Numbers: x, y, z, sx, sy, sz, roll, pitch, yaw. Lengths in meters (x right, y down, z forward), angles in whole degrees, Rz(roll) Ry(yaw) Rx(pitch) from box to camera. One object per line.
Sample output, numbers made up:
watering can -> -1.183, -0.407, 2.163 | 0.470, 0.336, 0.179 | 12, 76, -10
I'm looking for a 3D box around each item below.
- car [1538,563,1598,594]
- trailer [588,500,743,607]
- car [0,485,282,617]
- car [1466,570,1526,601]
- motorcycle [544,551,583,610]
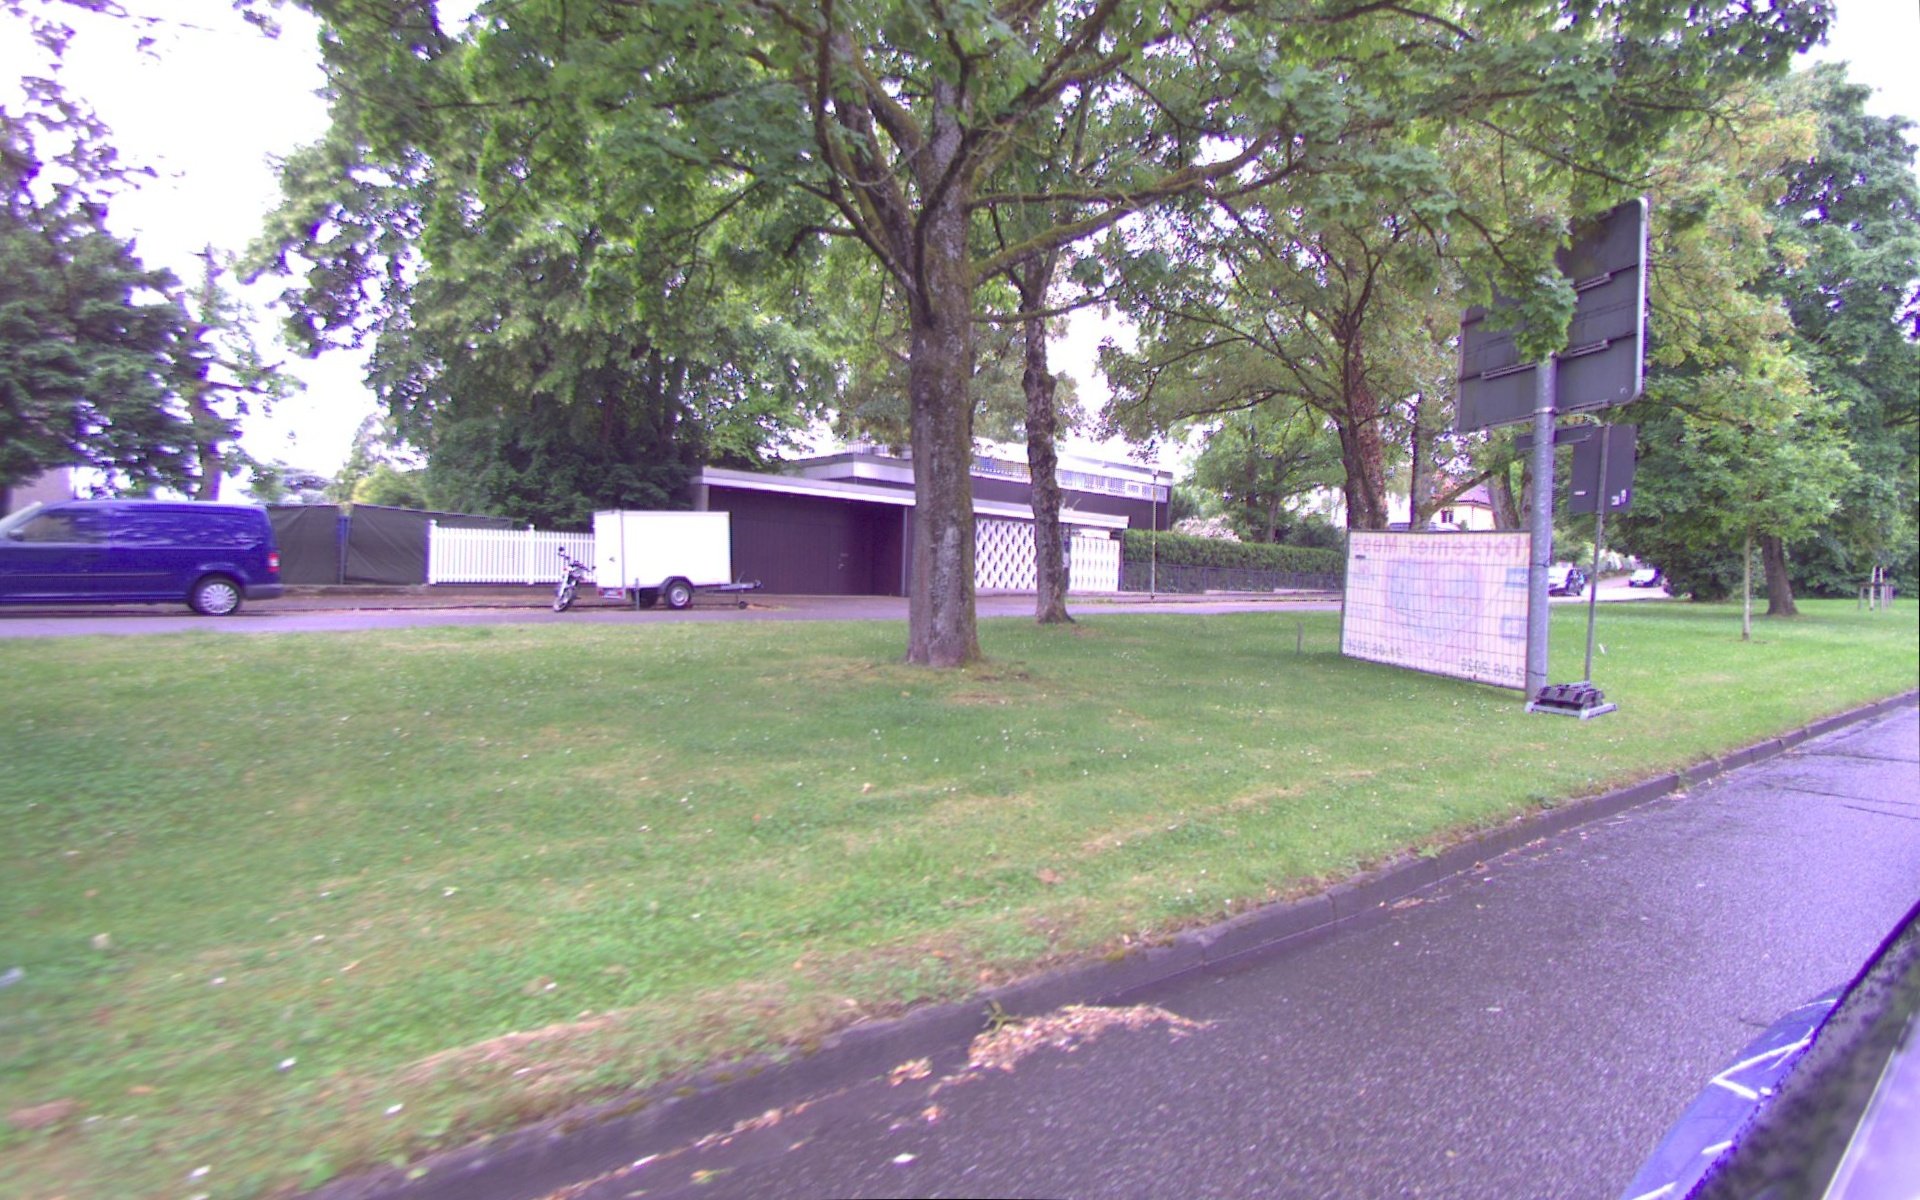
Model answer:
car -> 40.461, -1.486, 67.309 | 4.986, 1.901, 2.162 | -3, 4, -43
trailer -> -6.375, -0.994, 22.029 | 1.437, 2.180, 2.903 | 3, 3, 45
car -> -13.320, -0.731, 15.535 | 4.570, 1.831, 1.944 | 1, 3, -43
car -> 31.289, -0.881, 59.038 | 3.968, 1.644, 1.904 | -3, 4, -43
motorcycle -> -7.971, -0.397, 20.386 | 0.645, 1.106, 1.896 | 2, 1, -20
